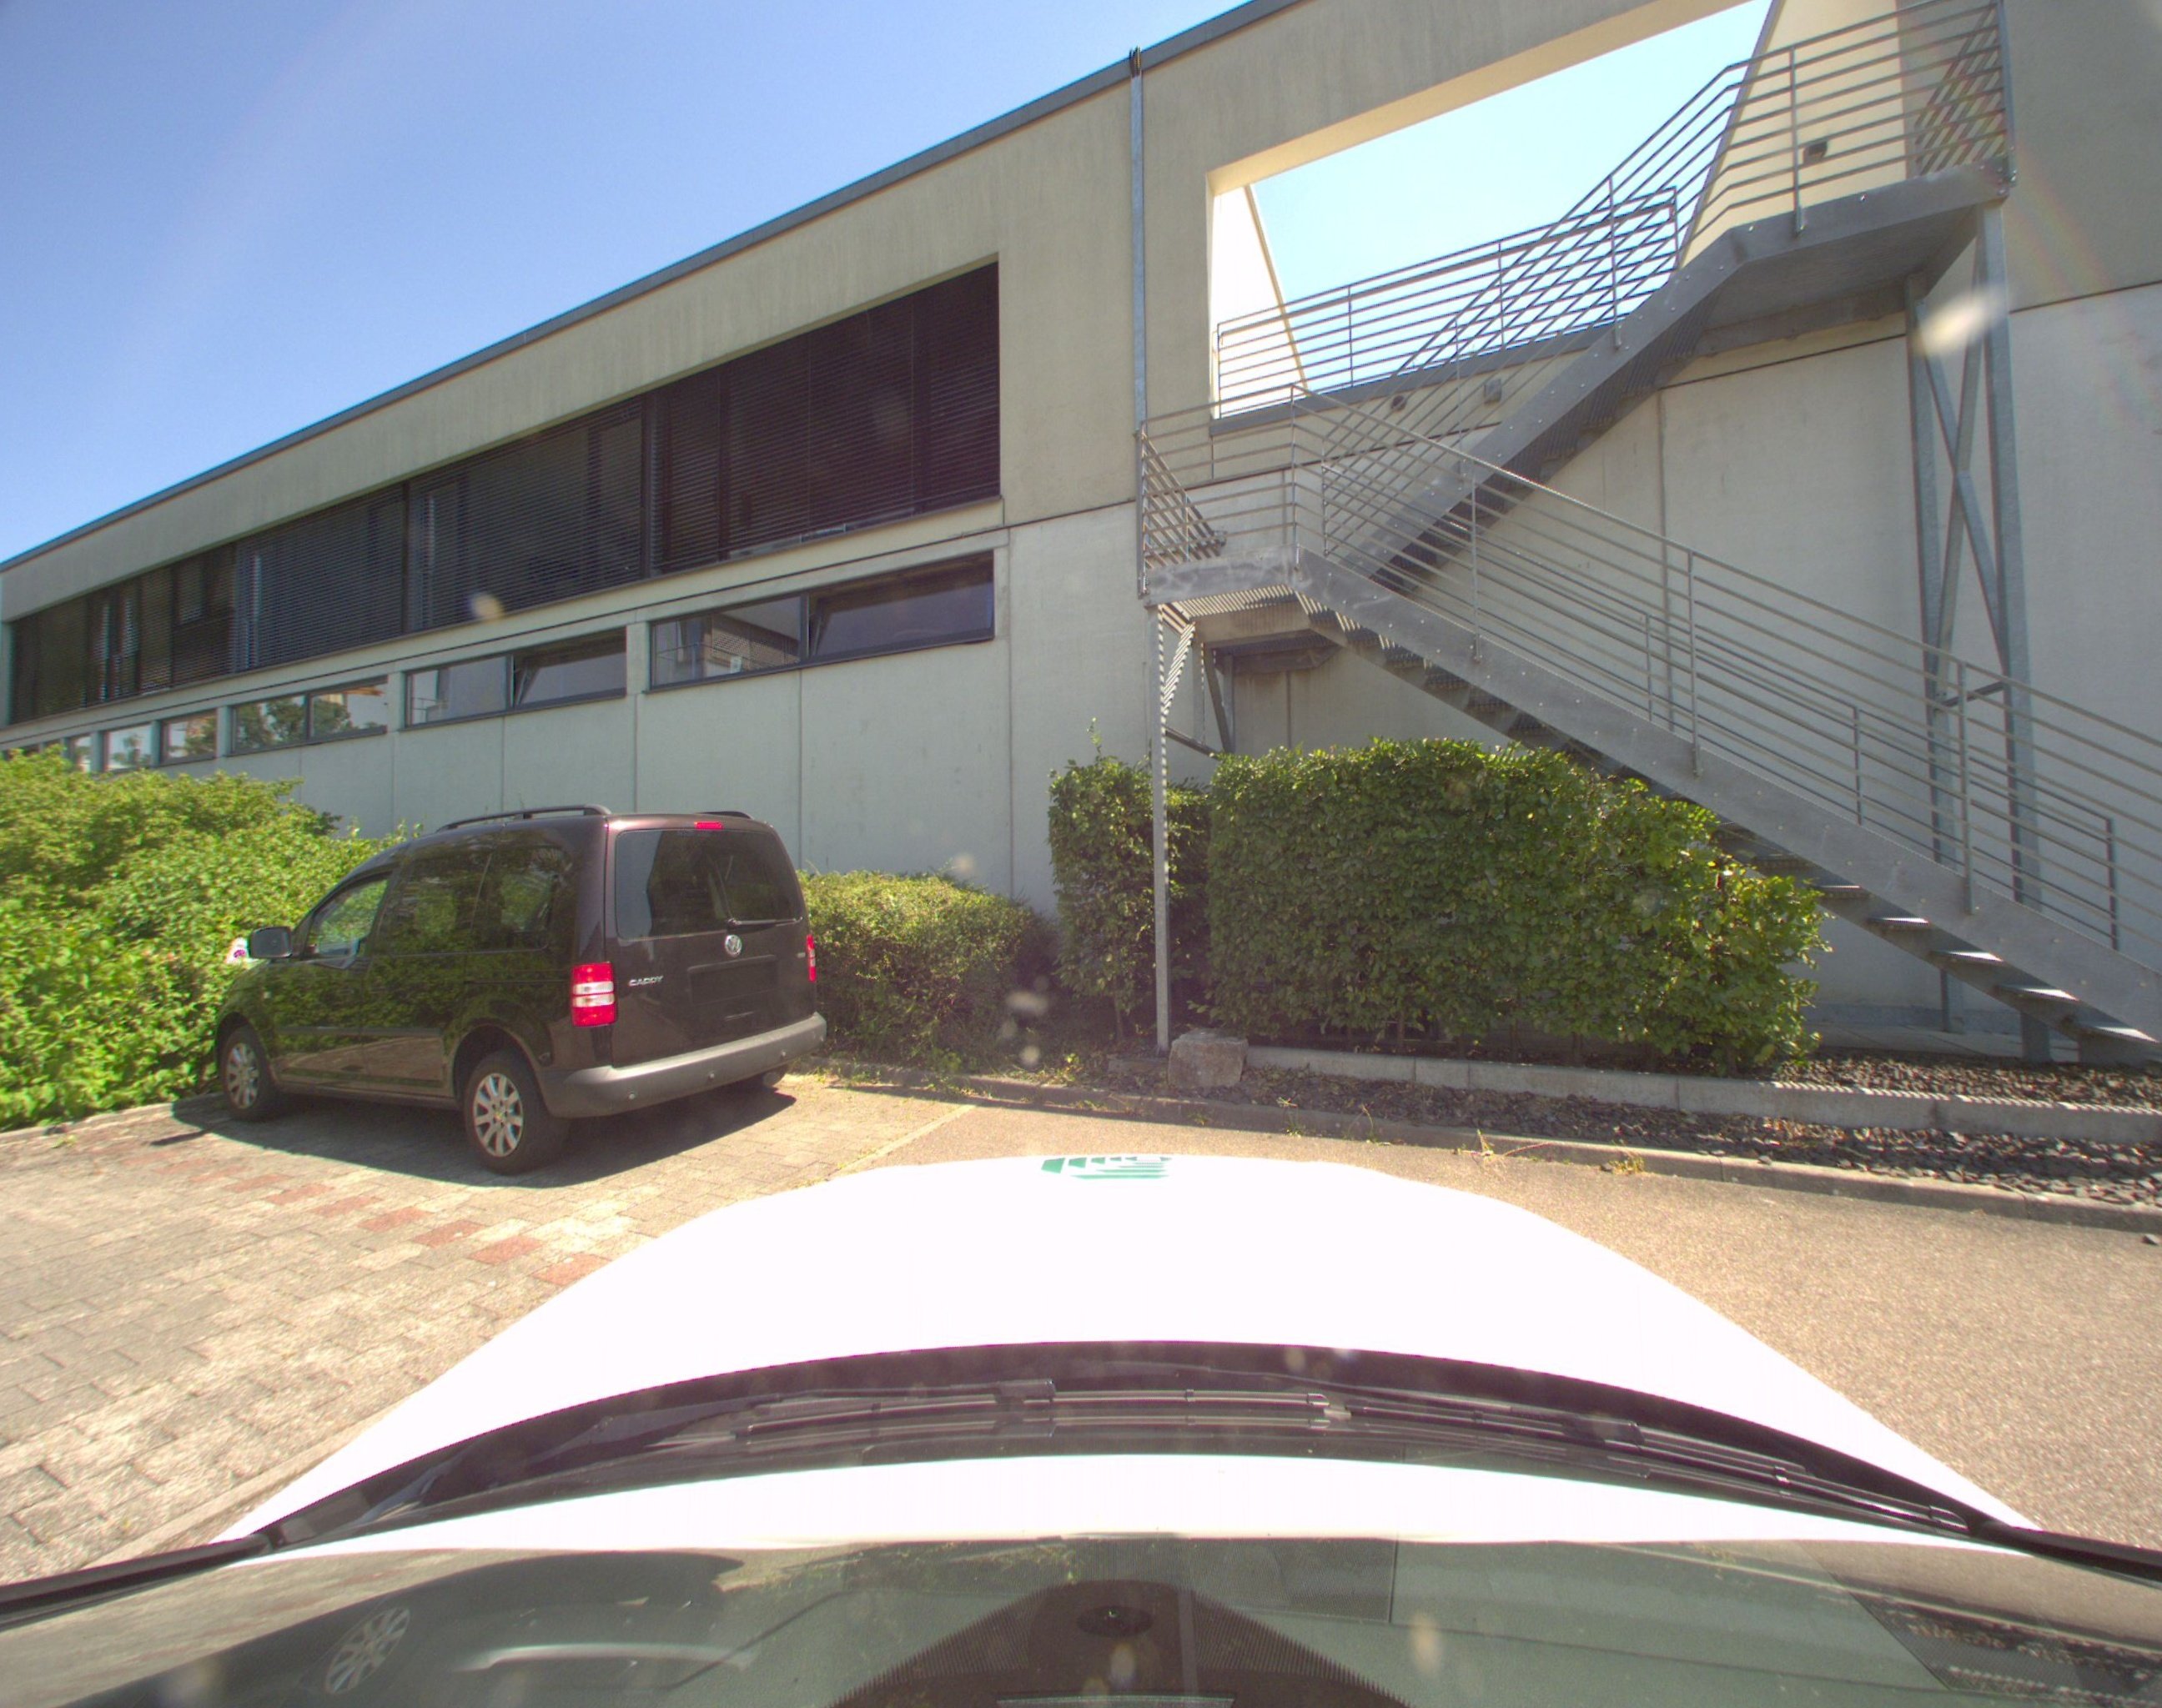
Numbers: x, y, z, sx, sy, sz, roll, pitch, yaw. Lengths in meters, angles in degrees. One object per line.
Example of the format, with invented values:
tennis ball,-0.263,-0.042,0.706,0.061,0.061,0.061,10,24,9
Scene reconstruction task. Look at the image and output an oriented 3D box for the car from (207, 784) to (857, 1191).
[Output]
car,-3.657,0.659,5.374,4.021,1.884,1.688,-1,-1,25
